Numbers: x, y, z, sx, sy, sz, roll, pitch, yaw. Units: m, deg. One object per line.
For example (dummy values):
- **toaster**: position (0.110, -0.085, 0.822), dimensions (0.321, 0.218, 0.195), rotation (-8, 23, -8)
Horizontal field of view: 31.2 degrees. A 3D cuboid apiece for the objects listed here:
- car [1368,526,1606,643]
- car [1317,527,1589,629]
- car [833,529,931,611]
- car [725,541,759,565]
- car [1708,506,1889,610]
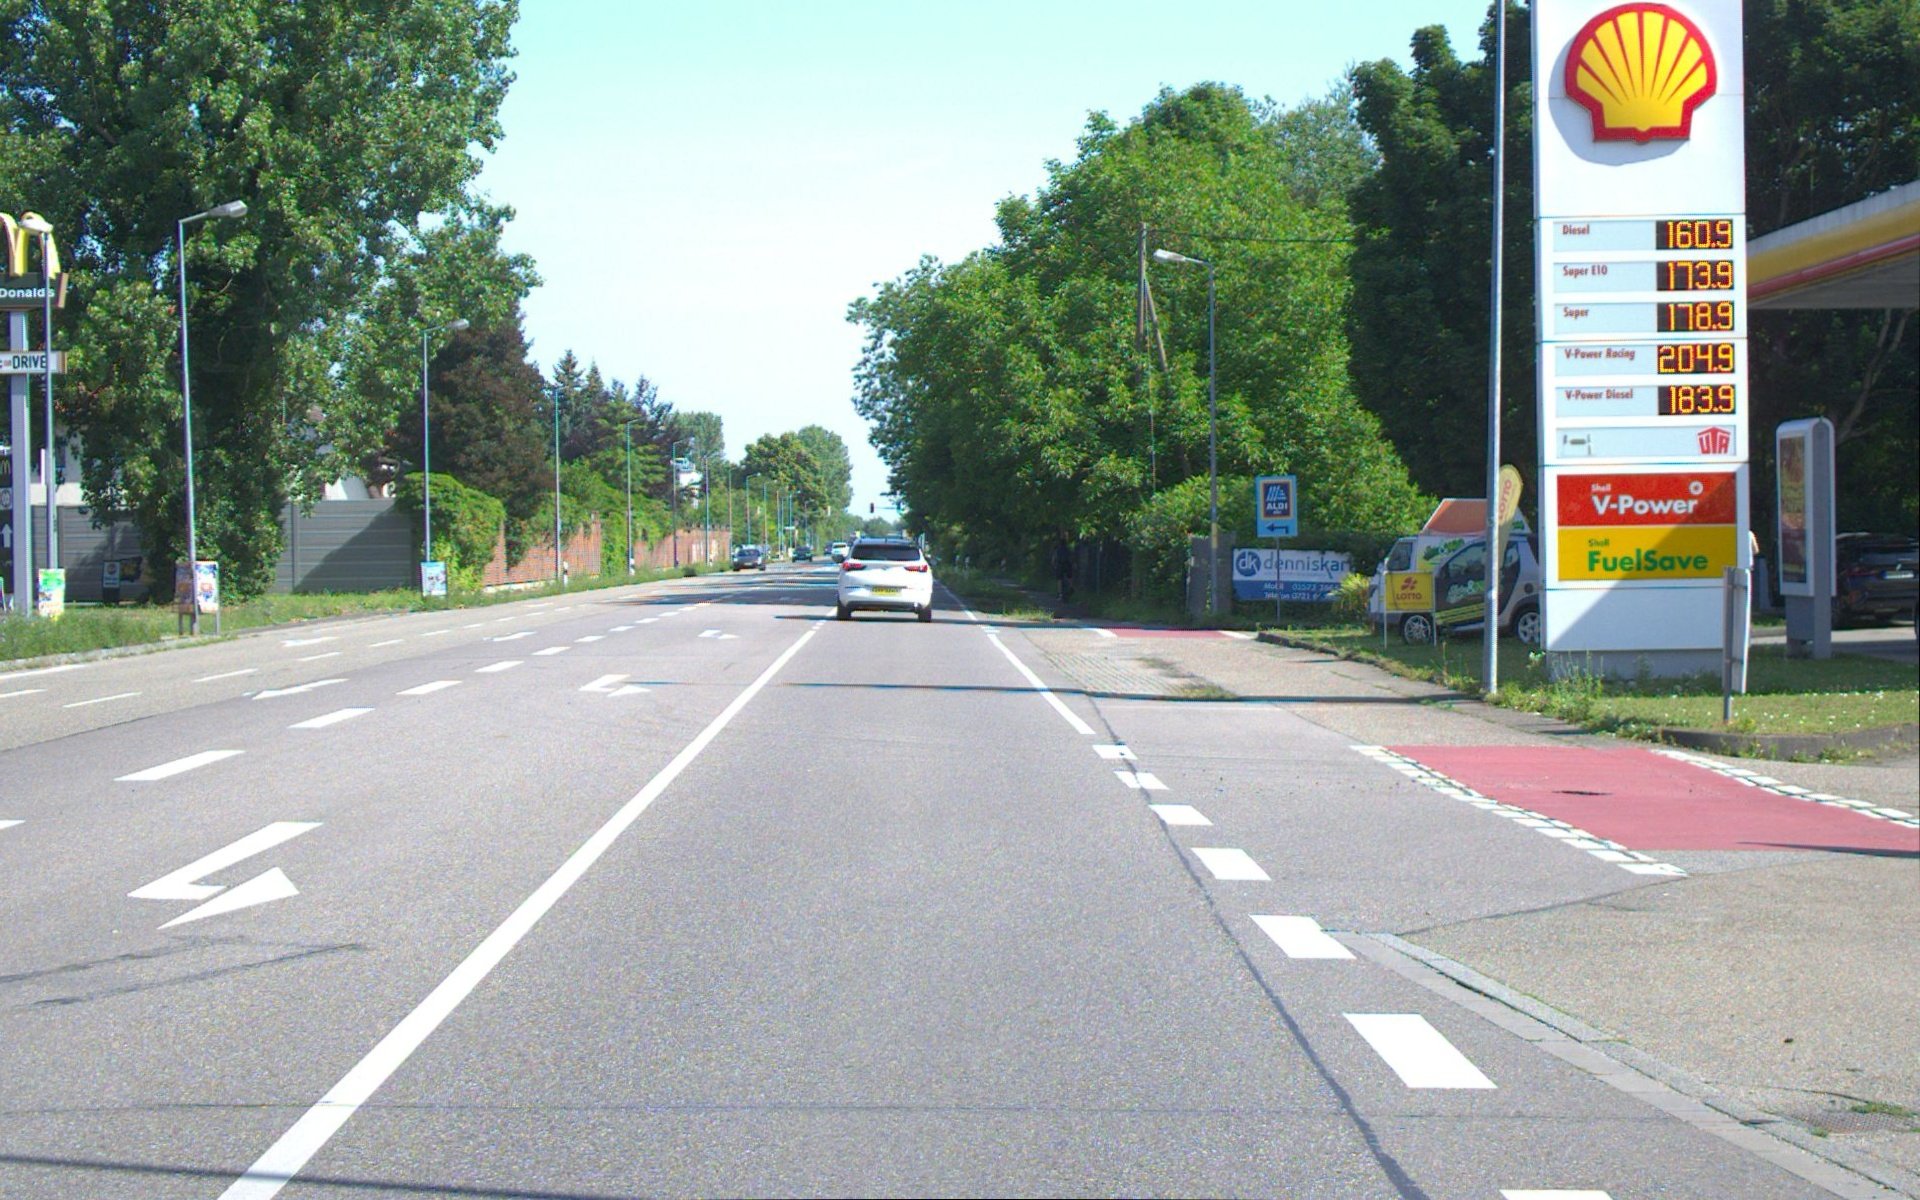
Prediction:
- **car**: position (7.054, -0.200, 46.100), dimensions (2.729, 1.525, 1.574), rotation (0, 0, 44)
- **car**: position (7.832, -0.349, 54.783), dimensions (3.986, 1.525, 1.586), rotation (1, 0, -8)
- **car**: position (-1.511, -0.594, 67.510), dimensions (1.847, 1.536, 4.225), rotation (1, 1, -1)
- **car**: position (-13.879, -2.986, 218.822), dimensions (1.847, 1.491, 4.912), rotation (-2, 1, -1)
- **car**: position (14.831, -0.743, 61.041), dimensions (1.993, 1.760, 4.001), rotation (1, 1, -3)
